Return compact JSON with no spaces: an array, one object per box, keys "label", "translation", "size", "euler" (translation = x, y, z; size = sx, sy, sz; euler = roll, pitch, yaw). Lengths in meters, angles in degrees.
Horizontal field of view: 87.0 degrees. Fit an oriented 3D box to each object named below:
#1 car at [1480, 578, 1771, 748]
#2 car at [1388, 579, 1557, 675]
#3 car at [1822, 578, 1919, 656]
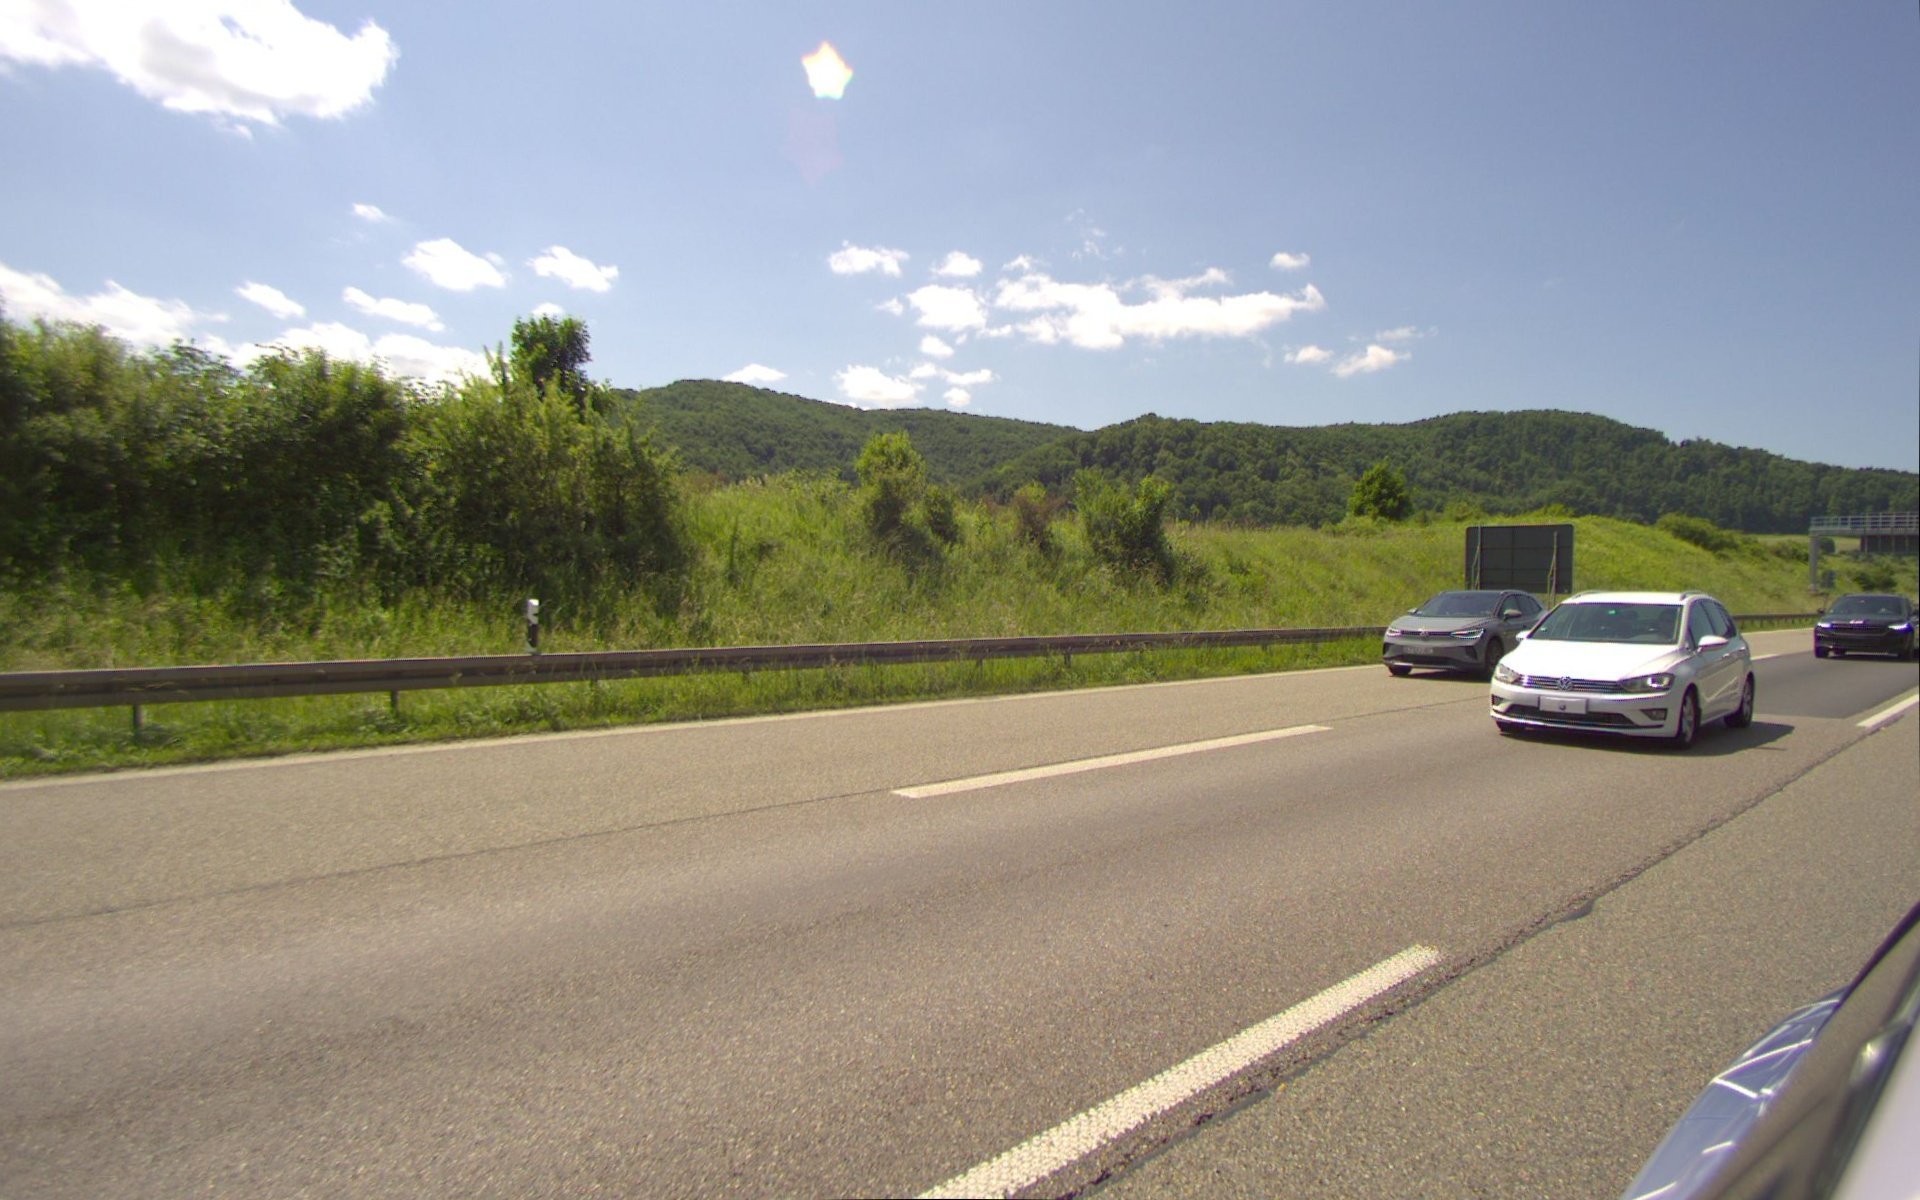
[{"label":"car","translation":[7.534,0.558,11.313],"size":[3.984,1.560,1.775],"euler":[0,1,-42]},{"label":"car","translation":[9.799,0.436,19.206],"size":[1.680,1.615,4.180],"euler":[1,1,45]},{"label":"car","translation":[23.540,0.379,25.663],"size":[4.097,1.794,1.893],"euler":[0,1,-40]}]
